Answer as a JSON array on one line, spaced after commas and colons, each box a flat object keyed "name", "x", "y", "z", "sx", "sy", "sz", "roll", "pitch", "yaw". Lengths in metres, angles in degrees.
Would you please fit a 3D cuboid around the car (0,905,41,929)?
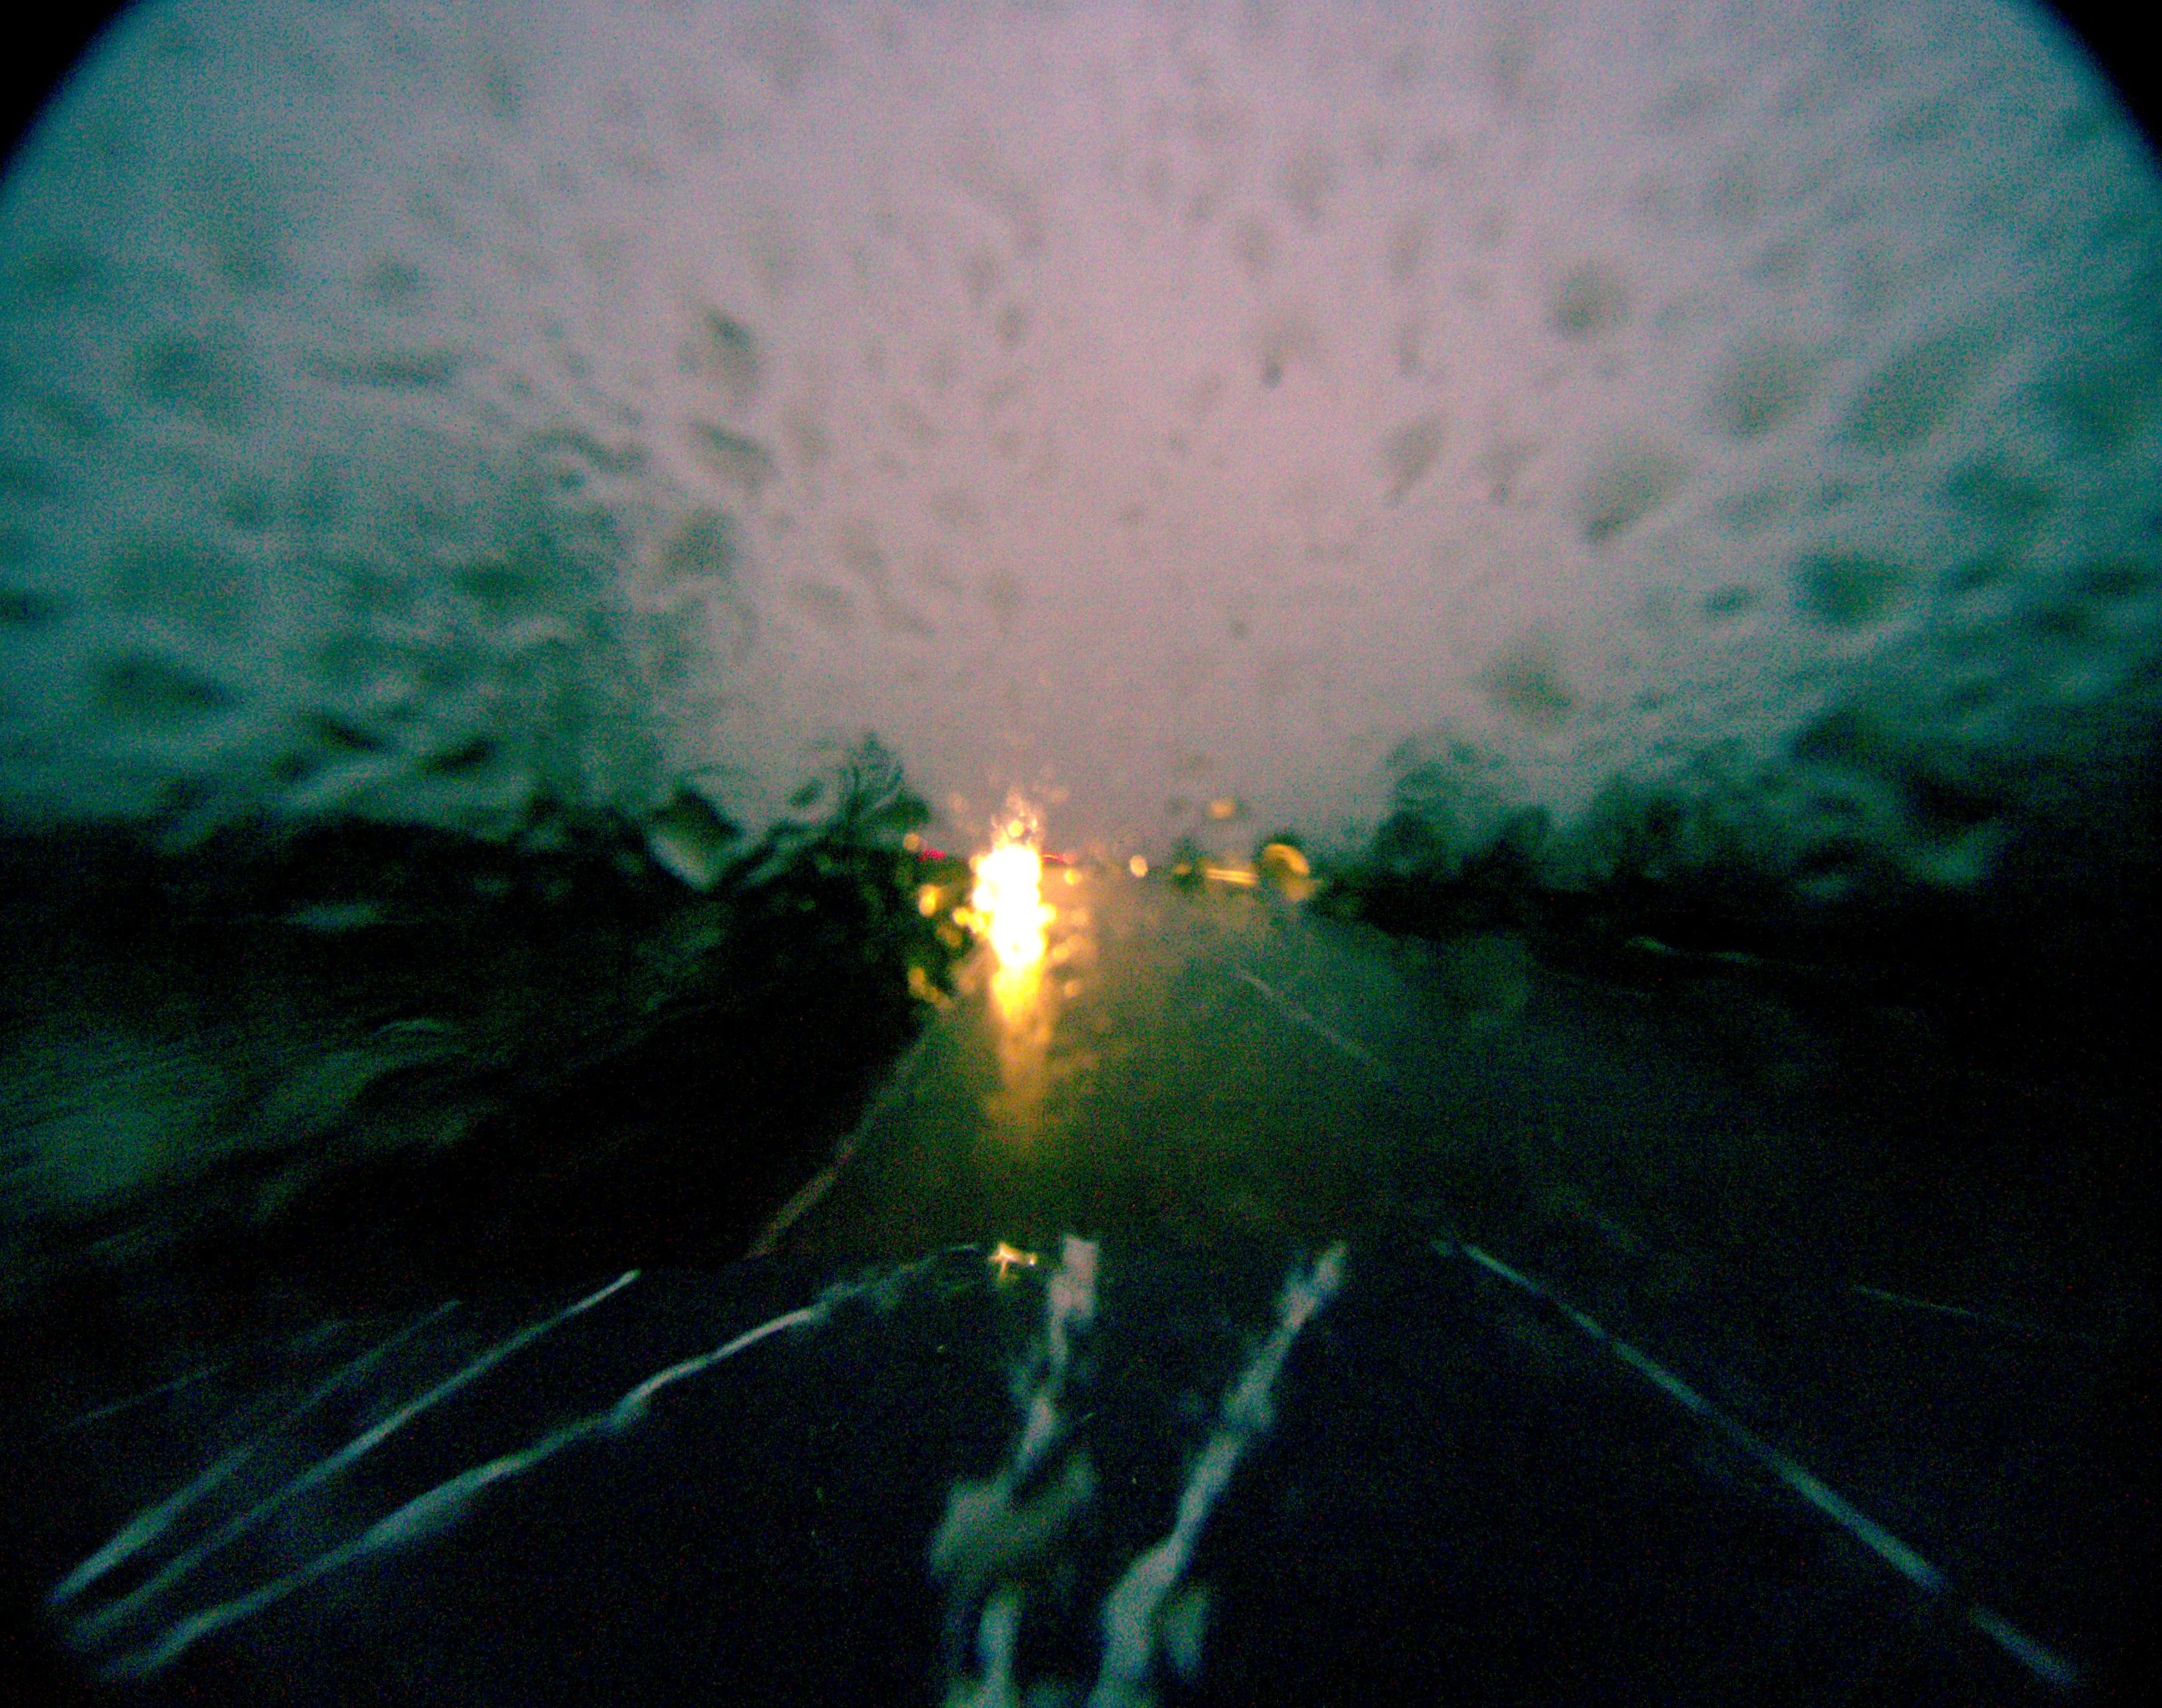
[{"name": "car", "x": -89.745, "y": 5.261, "z": 64.227, "sx": 3.988, "sy": 1.718, "sz": 2.004, "roll": 0, "pitch": 0, "yaw": 39}]

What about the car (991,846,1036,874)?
[{"name": "car", "x": -4.309, "y": 0.425, "z": 47.829, "sx": 2.105, "sy": 1.565, "sz": 4.795, "roll": 1, "pitch": -2, "yaw": -13}]

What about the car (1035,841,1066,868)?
[{"name": "car", "x": -2.289, "y": 0.017, "z": 56.146, "sx": 1.889, "sy": 1.852, "sz": 5.003, "roll": 0, "pitch": 0, "yaw": -6}]

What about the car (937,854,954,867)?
[{"name": "car", "x": -18.494, "y": 0.876, "z": 103.649, "sx": 2.018, "sy": 1.625, "sz": 4.867, "roll": -1, "pitch": 0, "yaw": -13}]
